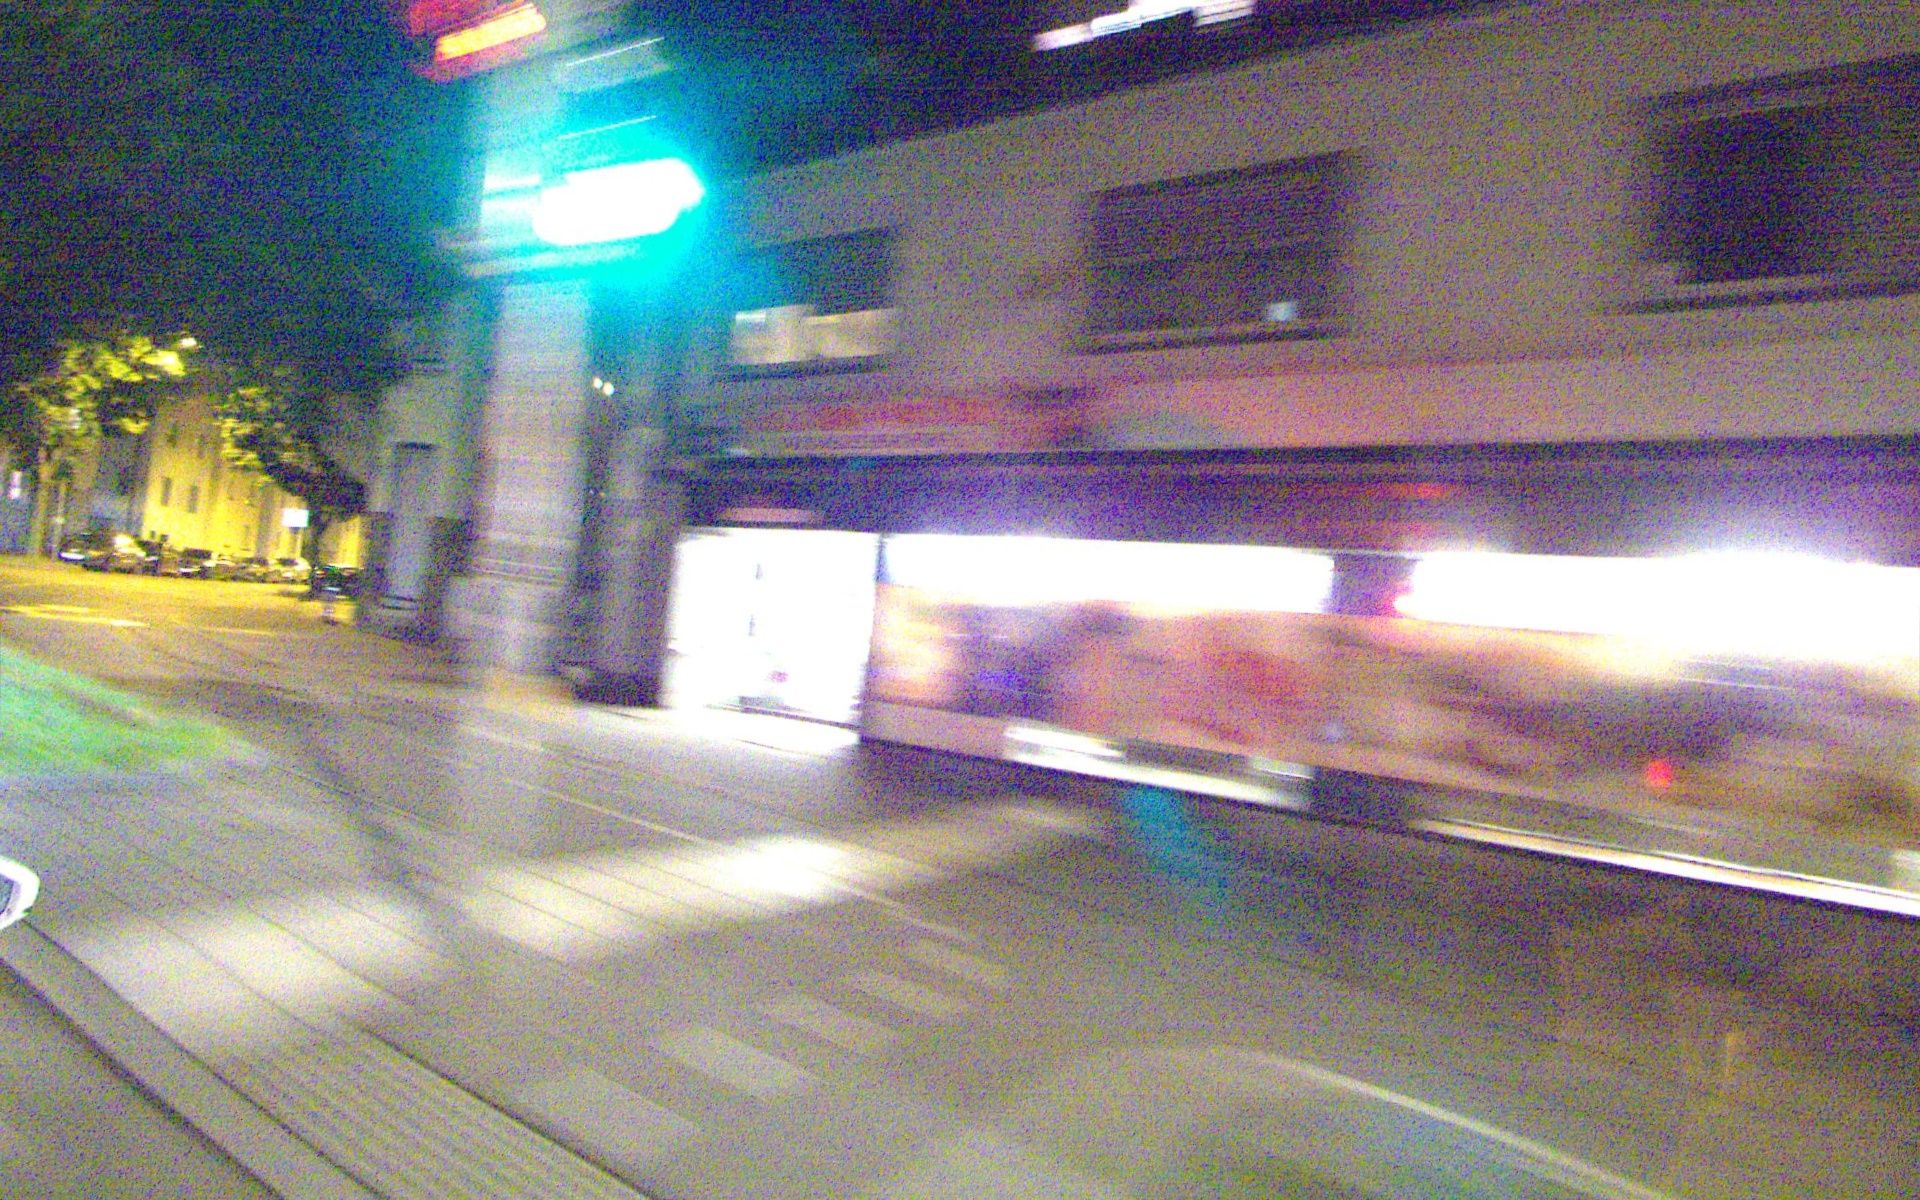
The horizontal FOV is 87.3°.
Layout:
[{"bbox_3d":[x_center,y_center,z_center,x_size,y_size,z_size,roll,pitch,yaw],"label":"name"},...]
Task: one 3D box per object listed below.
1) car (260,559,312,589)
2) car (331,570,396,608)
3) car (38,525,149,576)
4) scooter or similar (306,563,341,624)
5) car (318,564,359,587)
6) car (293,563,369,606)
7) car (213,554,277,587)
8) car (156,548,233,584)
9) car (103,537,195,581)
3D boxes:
[{"bbox_3d":[-42.423,-1.618,63.408,1.751,1.518,3.904,9,-3,-21],"label":"car"},{"bbox_3d":[-27.358,-0.483,46.290,1.778,1.433,3.822,9,-3,-21],"label":"car"},{"bbox_3d":[-32.081,-1.777,37.378,1.778,1.433,3.822,9,-3,-21],"label":"car"},{"bbox_3d":[-13.108,-0.150,20.701,0.495,1.160,1.652,5,-1,-34],"label":"scooter or similar"},{"bbox_3d":[-49.008,-1.886,79.403,1.749,1.456,3.907,8,-3,-18],"label":"car"},{"bbox_3d":[-25.648,-0.610,41.166,1.778,1.433,3.822,9,-3,-21],"label":"car"},{"bbox_3d":[-38.619,-1.556,54.441,1.751,1.433,3.904,9,-3,-21],"label":"car"},{"bbox_3d":[-36.279,-1.576,47.787,1.751,1.355,3.904,9,-3,-21],"label":"car"},{"bbox_3d":[-34.358,-1.711,42.714,1.778,1.433,3.822,9,-3,-21],"label":"car"}]
